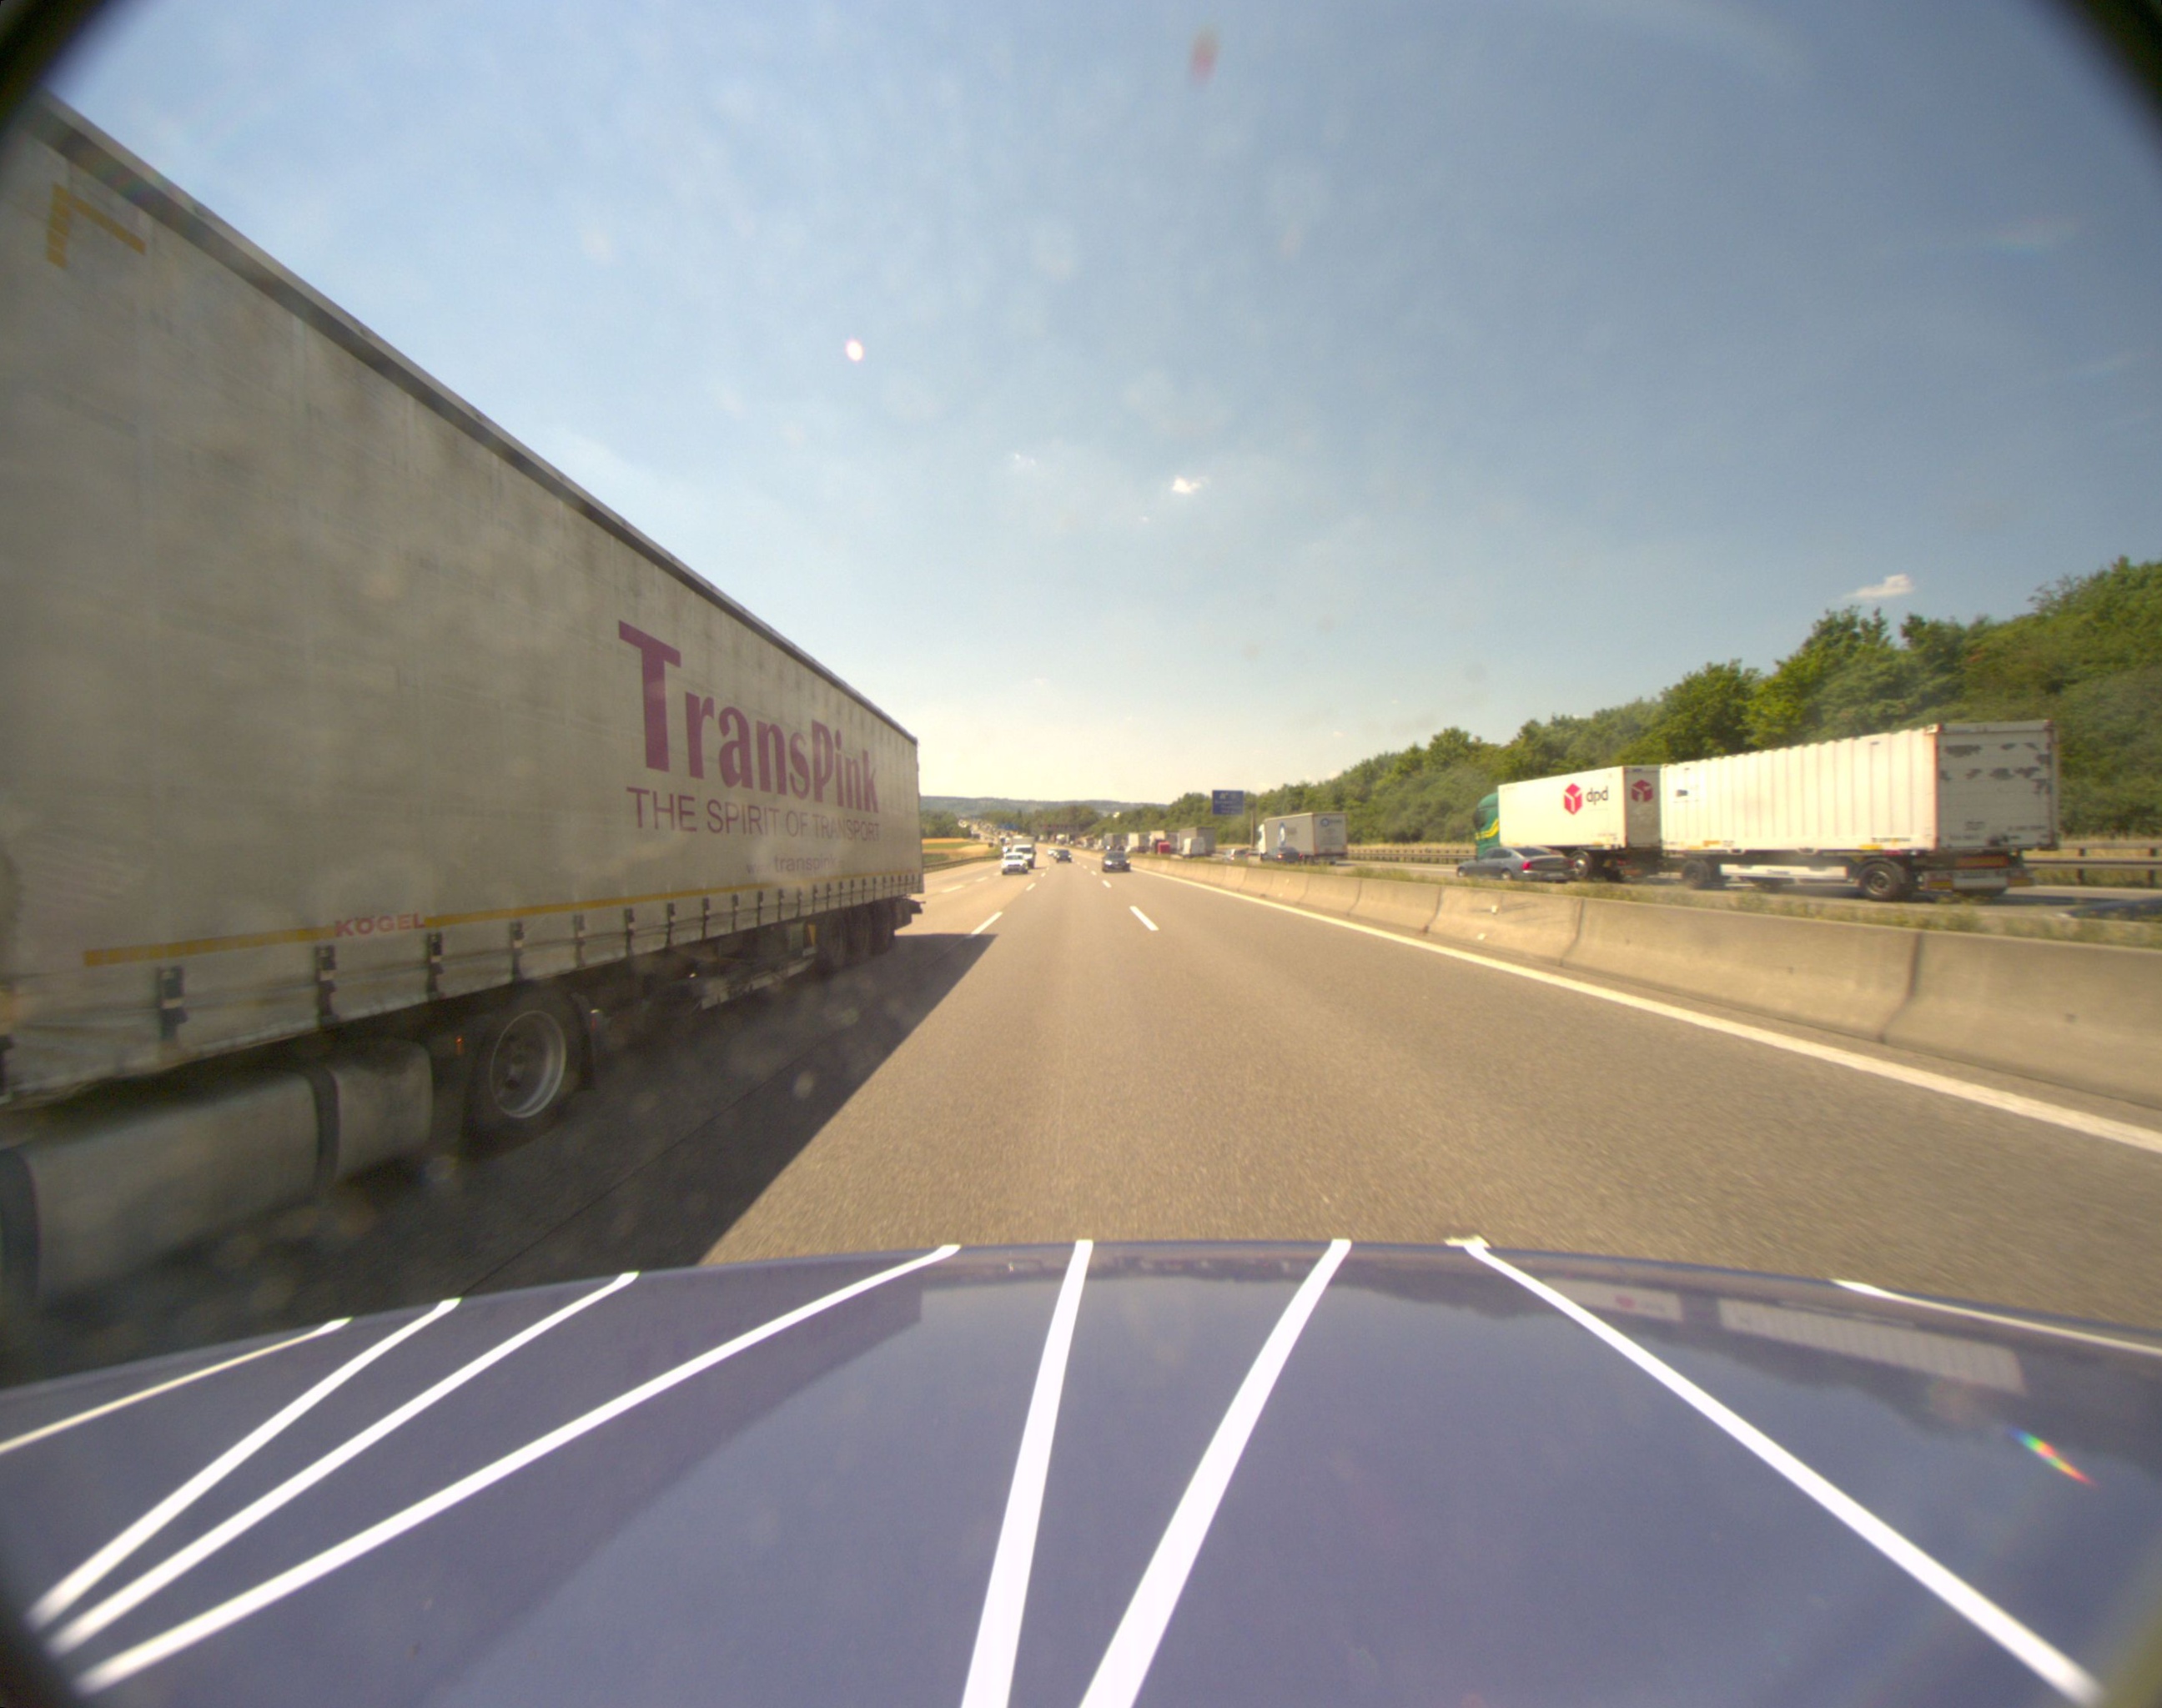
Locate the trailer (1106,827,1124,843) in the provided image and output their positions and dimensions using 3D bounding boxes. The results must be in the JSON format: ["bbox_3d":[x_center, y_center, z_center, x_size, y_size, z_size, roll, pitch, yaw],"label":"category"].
[{"bbox_3d":[9.378,-5.285,210.553,3.231,4.396,13.769,-2,2,-5],"label":"trailer"}]

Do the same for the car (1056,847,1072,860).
[{"bbox_3d":[-2.125,-0.038,94.187,1.866,1.426,3.998,-1,2,-2],"label":"car"}]

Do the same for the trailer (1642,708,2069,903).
[{"bbox_3d":[19.268,-1.043,20.054,2.927,4.048,8.229,-1,1,1],"label":"trailer"}]

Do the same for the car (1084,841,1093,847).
[{"bbox_3d":[2.092,-2.646,206.951,1.999,1.570,4.592,-2,2,-4],"label":"car"}]

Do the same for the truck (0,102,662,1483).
[{"bbox_3d":[-4.573,-0.171,2.259,2.924,3.986,6.509,-2,1,-1],"label":"truck"}]

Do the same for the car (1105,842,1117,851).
[{"bbox_3d":[6.191,-1.594,157.070,1.937,1.679,4.794,-1,1,-3],"label":"car"}]

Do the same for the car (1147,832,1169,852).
[{"bbox_3d":[11.997,-1.911,118.407,2.243,2.997,6.547,-1,1,-5],"label":"car"}]

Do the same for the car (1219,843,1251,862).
[{"bbox_3d":[14.031,-0.161,69.362,1.756,1.452,4.855,-2,2,-2],"label":"car"}]

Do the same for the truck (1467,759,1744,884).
[{"bbox_3d":[19.199,-1.060,29.291,2.850,3.876,11.245,-1,1,0],"label":"truck"}]

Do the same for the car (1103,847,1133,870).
[{"bbox_3d":[2.620,0.349,54.388,1.808,1.534,4.749,-1,0,-1],"label":"car"}]

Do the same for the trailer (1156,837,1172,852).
[{"bbox_3d":[12.403,-1.449,113.306,1.574,2.240,3.959,-1,1,-5],"label":"trailer"}]

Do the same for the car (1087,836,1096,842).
[{"bbox_3d":[3.214,-4.517,231.950,2.113,1.713,4.926,-2,2,-7],"label":"car"}]

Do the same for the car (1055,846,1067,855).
[{"bbox_3d":[-3.142,-0.530,121.229,1.866,1.322,3.998,-1,2,-2],"label":"car"}]

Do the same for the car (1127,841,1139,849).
[{"bbox_3d":[10.306,-1.832,150.586,1.886,1.466,4.403,-2,2,-4],"label":"car"}]

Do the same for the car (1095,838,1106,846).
[{"bbox_3d":[4.570,-2.785,177.524,1.999,1.634,4.403,-2,2,-4],"label":"car"}]

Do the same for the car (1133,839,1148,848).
[{"bbox_3d":[11.005,-1.971,140.486,1.999,1.706,4.789,-2,2,-3],"label":"car"}]

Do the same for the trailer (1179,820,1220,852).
[{"bbox_3d":[16.859,-2.644,109.203,2.990,4.183,14.185,-2,2,-2],"label":"trailer"}]

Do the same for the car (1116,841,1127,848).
[{"bbox_3d":[9.056,-2.187,171.371,1.882,1.426,4.921,-2,1,-4],"label":"car"}]

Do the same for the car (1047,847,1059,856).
[{"bbox_3d":[-5.454,-0.486,147.529,1.999,1.467,3.996,-2,2,-6],"label":"car"}]

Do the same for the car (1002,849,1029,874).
[{"bbox_3d":[-4.951,0.529,57.966,1.837,1.636,4.170,-2,2,-3],"label":"car"}]

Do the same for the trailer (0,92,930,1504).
[{"bbox_3d":[-4.635,-0.262,8.848,2.926,4.094,13.854,-2,1,0],"label":"trailer"}]

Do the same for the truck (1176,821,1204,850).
[{"bbox_3d":[16.563,-2.763,116.049,2.970,4.186,6.601,-2,2,-2],"label":"truck"}]

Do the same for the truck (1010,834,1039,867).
[{"bbox_3d":[-5.421,-0.421,73.839,2.445,3.011,6.912,-2,2,-2],"label":"truck"}]

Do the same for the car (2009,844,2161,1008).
[{"bbox_3d":[11.415,0.700,6.142,1.998,1.518,4.772,-2,1,0],"label":"car"}]

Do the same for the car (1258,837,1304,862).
[{"bbox_3d":[14.495,-0.357,55.221,1.866,1.632,5.110,-2,2,-1],"label":"car"}]

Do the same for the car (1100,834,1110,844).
[{"bbox_3d":[6.474,-3.931,203.416,1.903,2.559,7.567,-2,2,-4],"label":"car"}]

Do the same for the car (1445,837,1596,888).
[{"bbox_3d":[15.015,0.232,26.425,1.999,1.536,5.493,-1,1,-1],"label":"car"}]

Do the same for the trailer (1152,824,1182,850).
[{"bbox_3d":[15.306,-3.034,135.989,2.819,4.254,13.861,-2,1,-3],"label":"trailer"}]

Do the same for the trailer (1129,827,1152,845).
[{"bbox_3d":[13.092,-3.955,168.332,2.911,3.851,13.868,-2,2,-3],"label":"trailer"}]

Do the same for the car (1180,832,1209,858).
[{"bbox_3d":[13.496,-1.119,91.064,2.145,2.771,6.621,-2,2,-2],"label":"car"}]

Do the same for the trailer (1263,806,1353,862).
[{"bbox_3d":[18.439,-1.587,63.081,2.910,4.063,14.441,-1,1,-1],"label":"trailer"}]

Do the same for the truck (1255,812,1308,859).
[{"bbox_3d":[18.338,-1.685,69.913,2.861,4.013,6.602,-1,1,-2],"label":"truck"}]
